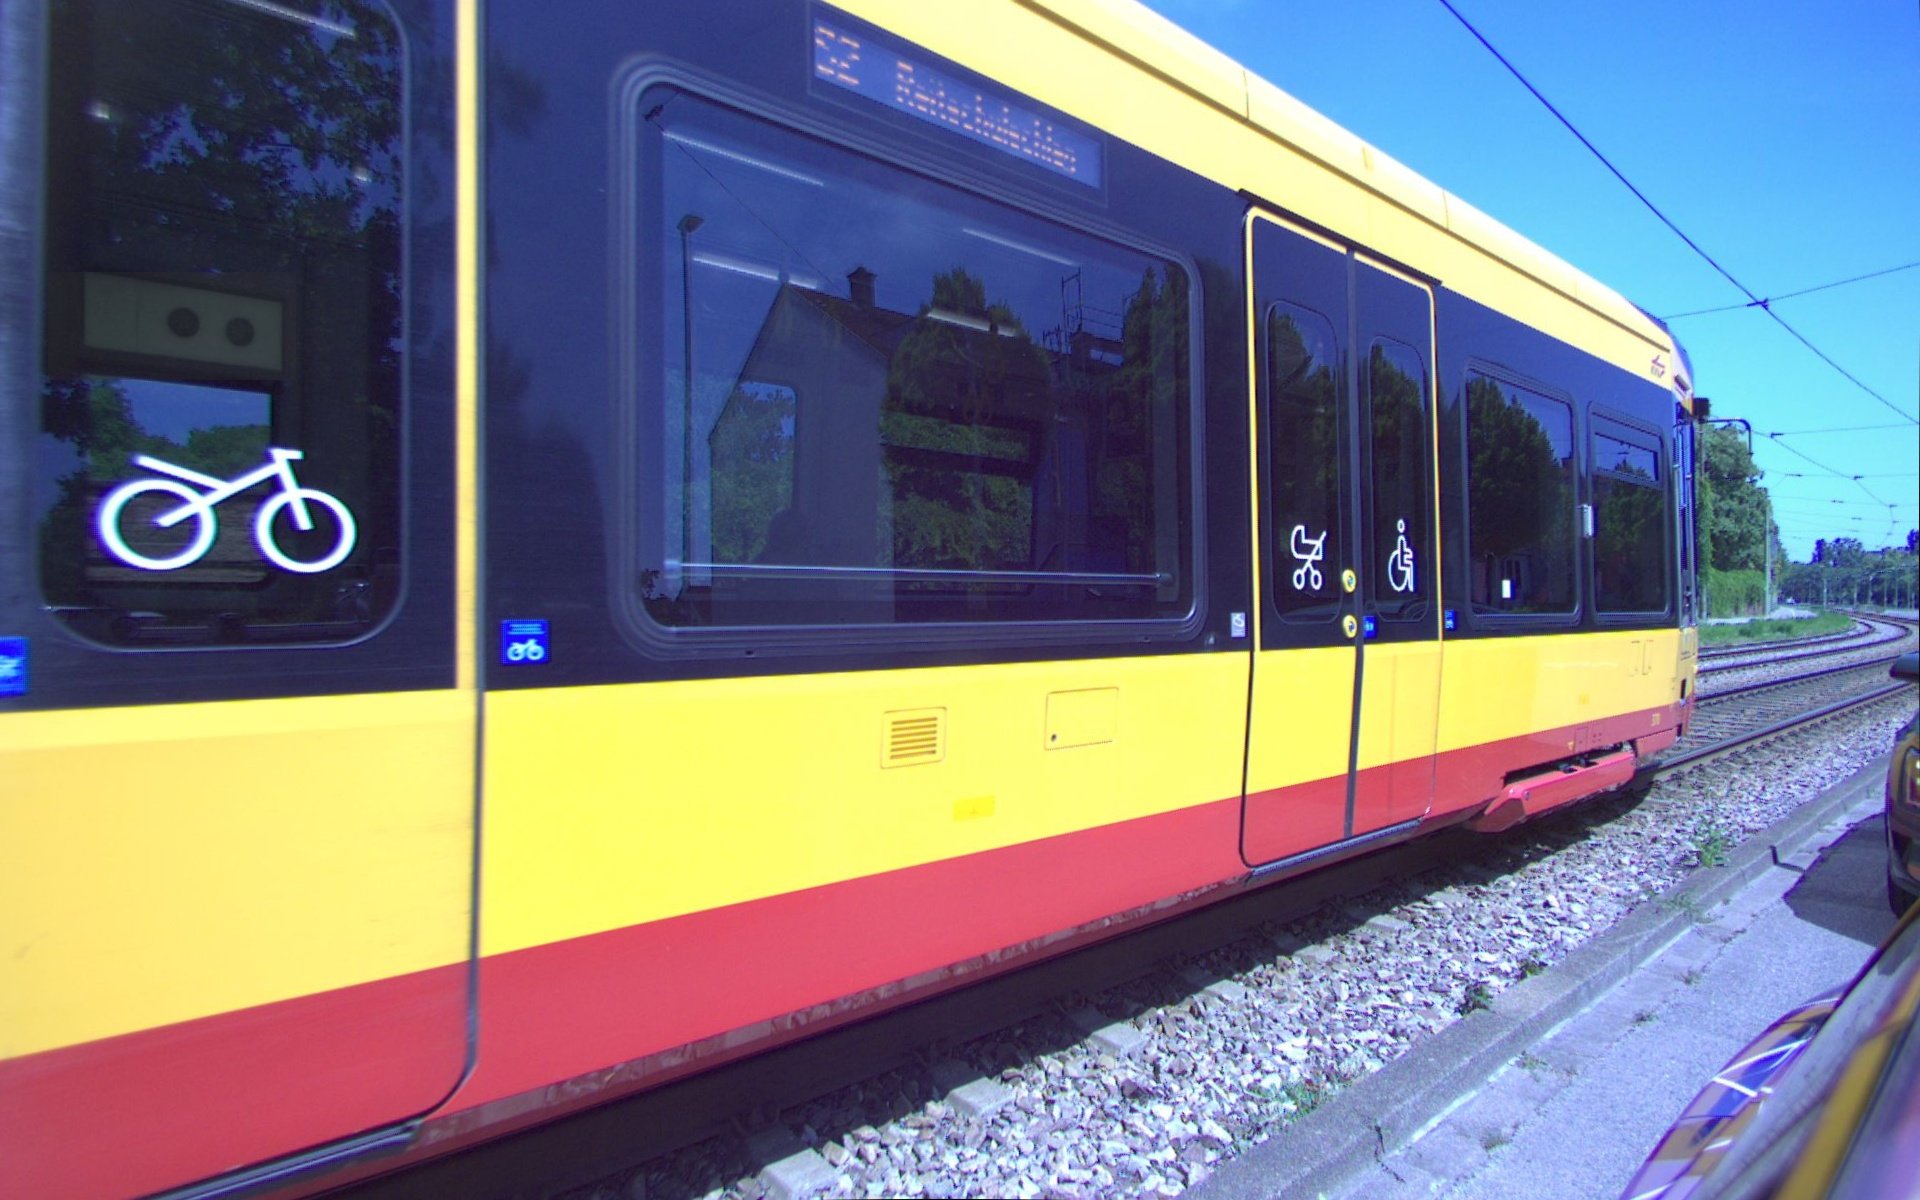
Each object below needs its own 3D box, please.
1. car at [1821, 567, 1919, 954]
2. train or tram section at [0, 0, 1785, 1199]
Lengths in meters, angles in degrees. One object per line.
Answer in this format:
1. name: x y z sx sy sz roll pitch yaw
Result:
1. car: 5.865 0.641 4.730 3.927 1.563 2.062 0 -1 -38
2. train or tram section: 0.921 -0.427 5.131 12.641 3.656 2.746 0 -1 -40
